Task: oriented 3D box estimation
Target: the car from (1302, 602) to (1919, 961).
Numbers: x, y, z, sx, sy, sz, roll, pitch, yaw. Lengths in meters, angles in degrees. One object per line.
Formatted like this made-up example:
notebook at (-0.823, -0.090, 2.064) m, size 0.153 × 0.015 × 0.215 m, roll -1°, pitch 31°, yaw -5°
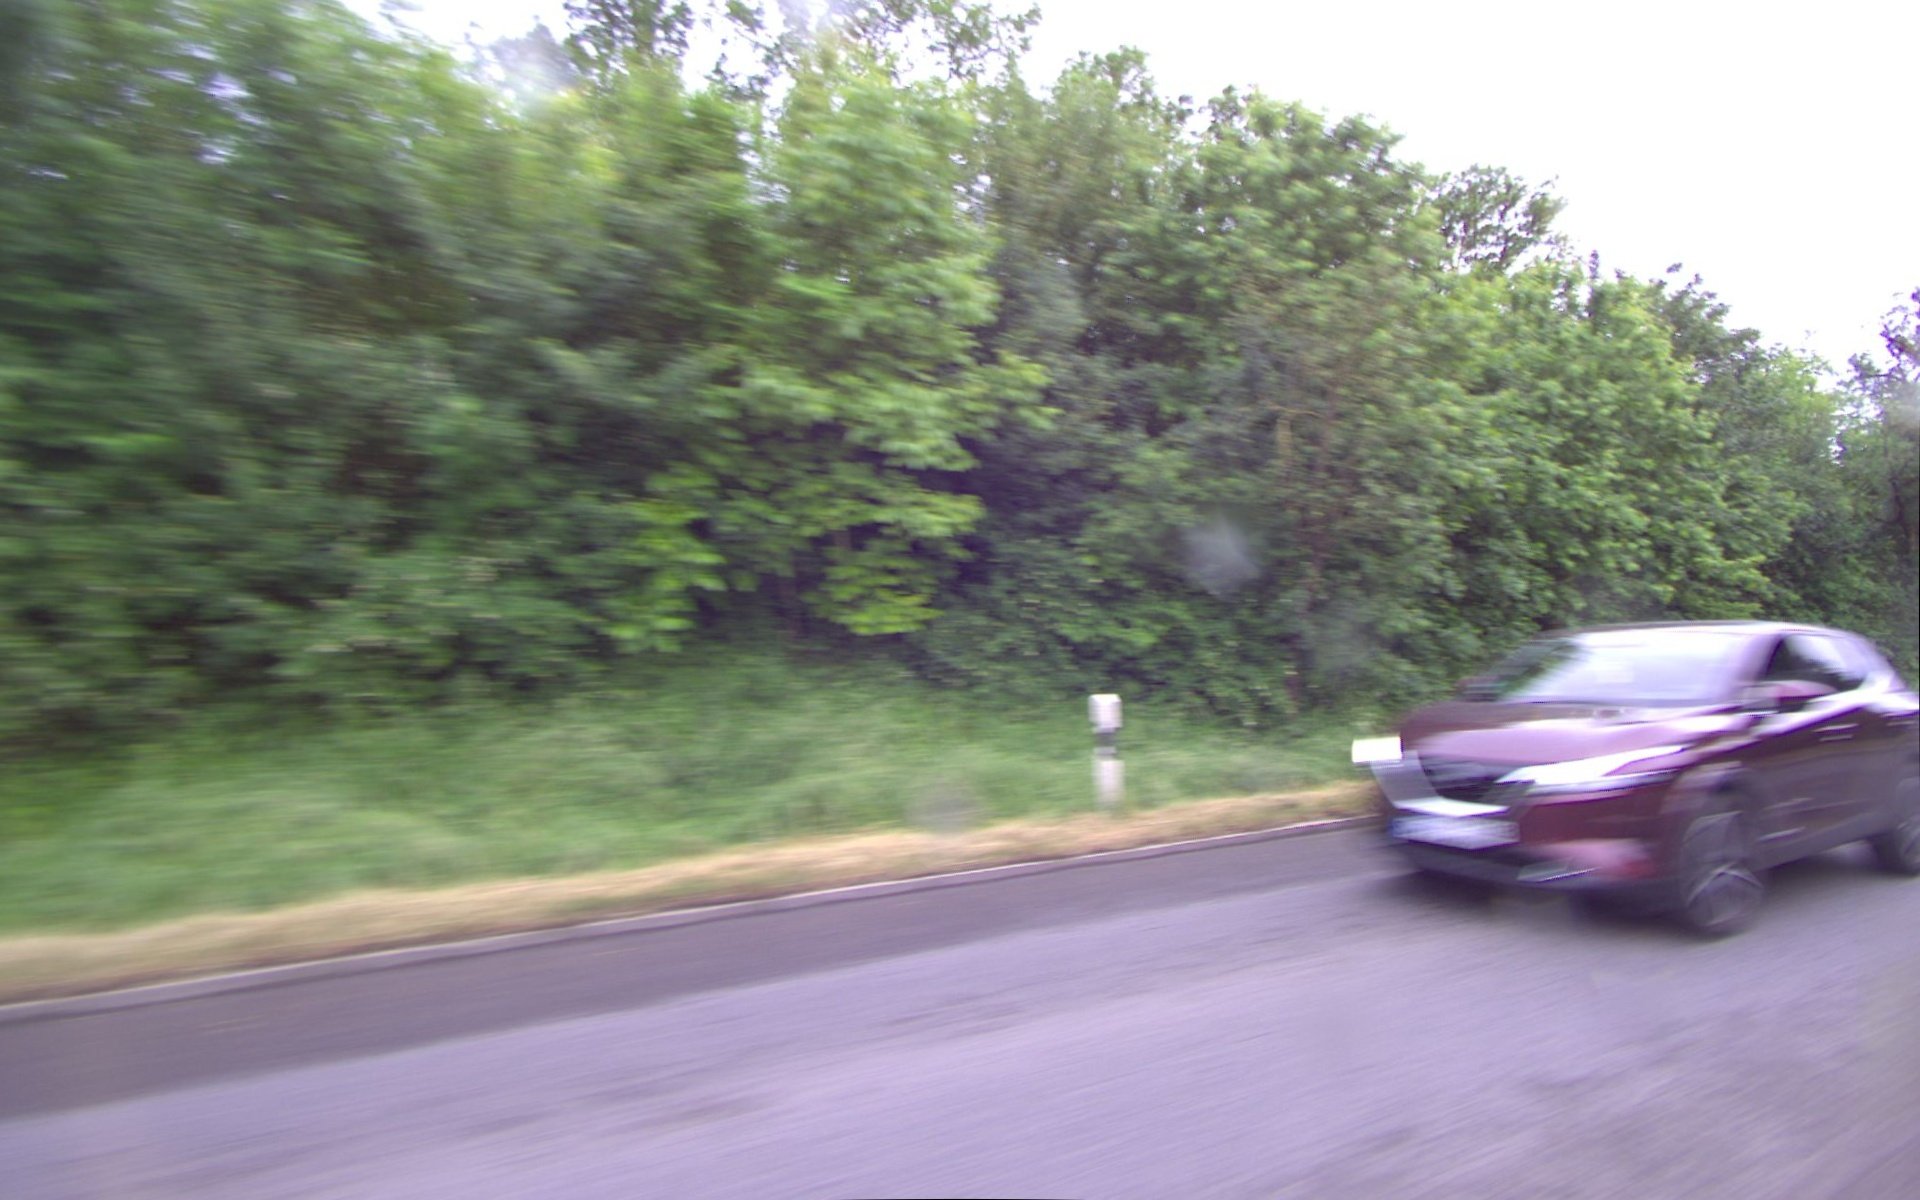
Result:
car at (4.458, 0.867, 6.392) m, size 4.463 × 1.577 × 1.896 m, roll 1°, pitch -2°, yaw -31°
